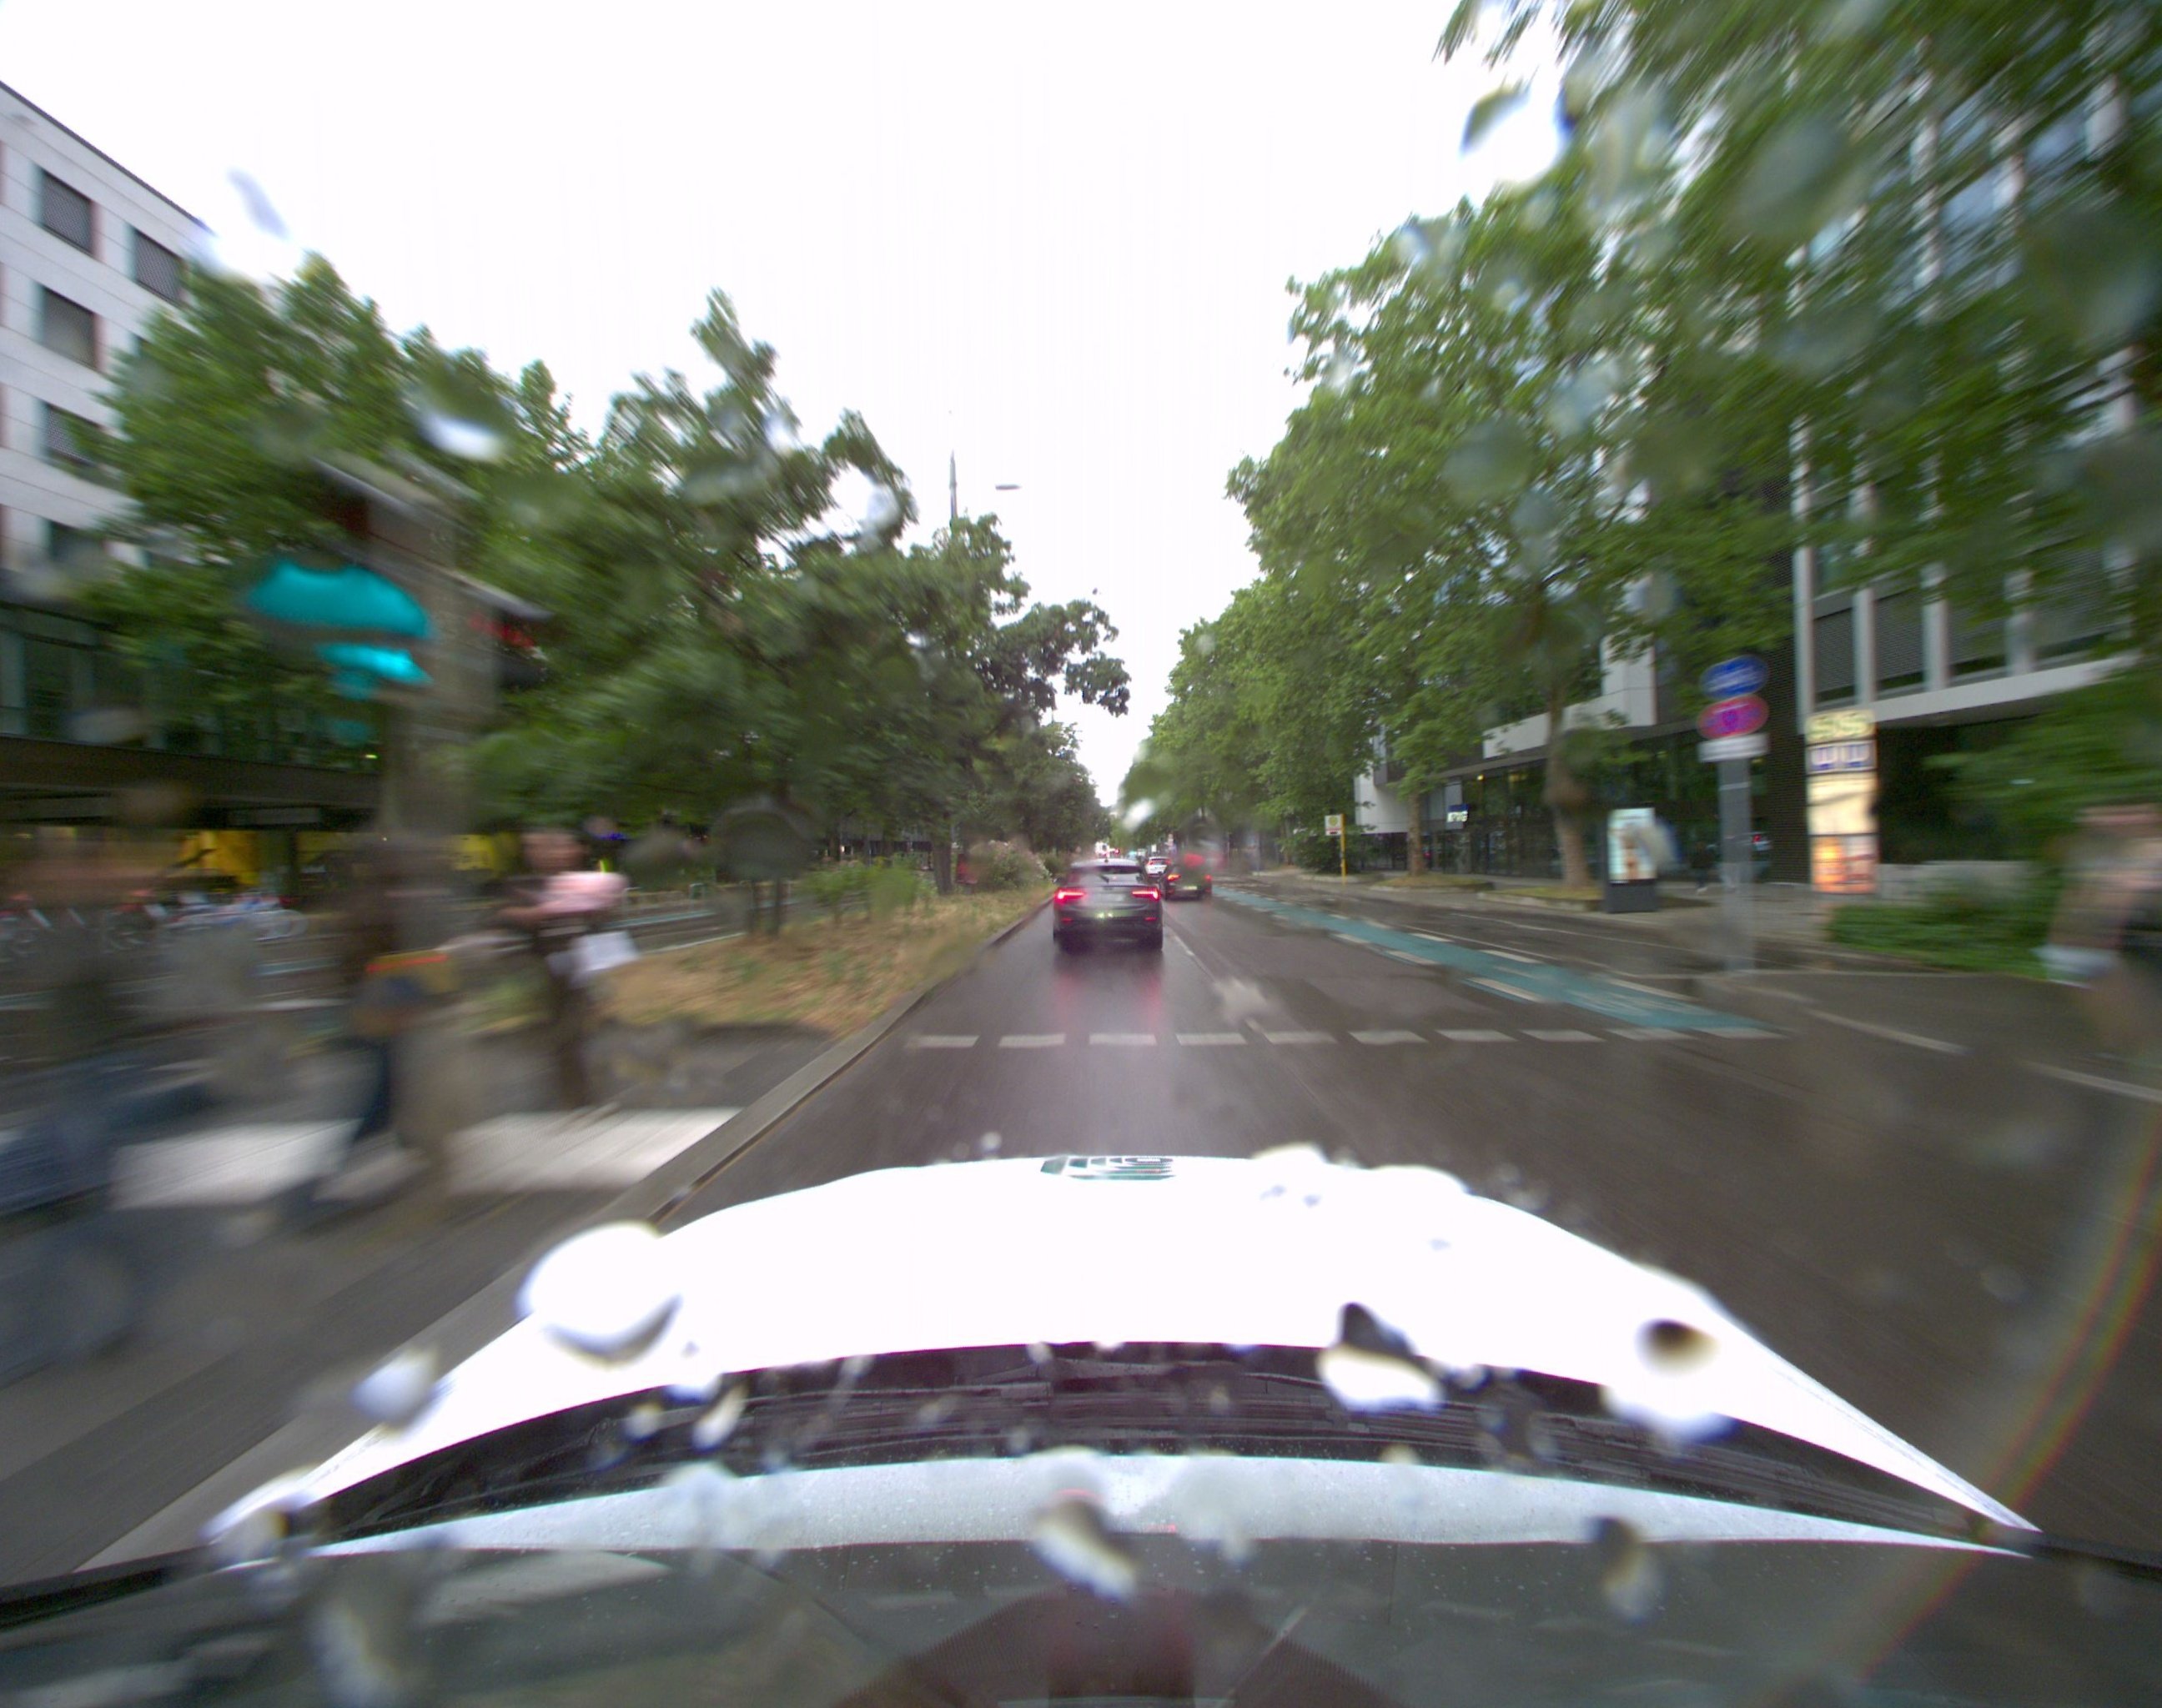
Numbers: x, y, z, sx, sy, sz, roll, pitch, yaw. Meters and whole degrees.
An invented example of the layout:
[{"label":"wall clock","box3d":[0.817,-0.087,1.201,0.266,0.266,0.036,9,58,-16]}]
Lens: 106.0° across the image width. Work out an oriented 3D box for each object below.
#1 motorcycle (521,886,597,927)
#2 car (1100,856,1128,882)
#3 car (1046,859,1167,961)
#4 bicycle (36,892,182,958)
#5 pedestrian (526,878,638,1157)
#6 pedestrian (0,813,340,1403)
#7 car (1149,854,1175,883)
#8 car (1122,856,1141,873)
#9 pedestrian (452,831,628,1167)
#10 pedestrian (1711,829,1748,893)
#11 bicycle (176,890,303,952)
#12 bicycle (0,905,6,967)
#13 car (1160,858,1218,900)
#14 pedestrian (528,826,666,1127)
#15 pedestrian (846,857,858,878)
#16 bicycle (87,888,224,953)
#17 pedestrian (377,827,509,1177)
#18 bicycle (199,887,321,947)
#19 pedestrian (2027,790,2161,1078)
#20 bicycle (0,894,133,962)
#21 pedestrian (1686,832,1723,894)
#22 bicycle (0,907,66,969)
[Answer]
[{"label":"motorcycle","box3d":[-14.880,1.477,23.255,1.784,1.085,0.491,-1,-1,-29]},{"label":"car","box3d":[2.198,0.982,54.742,1.715,1.577,3.963,-2,0,1]},{"label":"car","box3d":[0.524,0.894,15.027,1.855,1.532,4.530,-1,0,3]},{"label":"bicycle","box3d":[-17.948,1.297,15.064,1.819,1.097,0.565,-2,0,-6]},{"label":"pedestrian","box3d":[-2.771,0.870,4.552,0.423,1.450,0.383,-1,-1,-17]},{"label":"pedestrian","box3d":[-2.945,0.707,2.629,0.613,1.642,0.601,-1,-1,-21]},{"label":"car","box3d":[5.122,0.895,51.713,1.427,1.685,2.980,-2,0,2]},{"label":"car","box3d":[5.666,1.186,91.593,1.986,1.750,4.002,-2,0,2]},{"label":"pedestrian","box3d":[-2.832,0.713,4.307,0.629,1.643,0.443,-1,-1,-13]},{"label":"pedestrian","box3d":[19.157,0.214,24.054,0.561,1.855,0.607,-2,-1,-1]},{"label":"bicycle","box3d":[-17.148,1.345,16.631,1.841,1.136,0.565,-2,0,-5]},{"label":"bicycle","box3d":[-17.976,1.330,12.716,1.461,0.979,0.564,-2,0,-7]},{"label":"car","box3d":[4.079,0.923,31.278,1.759,1.413,4.001,-2,0,1]},{"label":"pedestrian","box3d":[-2.875,0.693,4.873,0.573,1.698,0.403,-1,-1,-11]},{"label":"pedestrian","box3d":[-21.325,1.256,75.821,0.877,2.014,0.636,-1,-1,1]},{"label":"bicycle","box3d":[-17.933,1.274,15.808,1.842,1.136,0.565,-2,0,-6]},{"label":"pedestrian","box3d":[-3.293,0.729,4.220,0.398,1.720,0.324,-2,-1,-8]},{"label":"bicycle","box3d":[-17.377,1.324,17.263,1.841,1.149,0.565,-2,0,-5]},{"label":"pedestrian","box3d":[7.034,0.503,5.500,0.605,1.831,0.563,-1,-1,-8]},{"label":"bicycle","box3d":[-17.941,1.290,14.342,1.667,1.091,0.565,-2,0,-6]},{"label":"pedestrian","box3d":[18.290,0.258,23.905,0.561,1.794,0.607,-2,-1,-1]},{"label":"bicycle","box3d":[-17.899,1.395,13.378,1.616,0.962,0.508,-2,0,-6]}]
